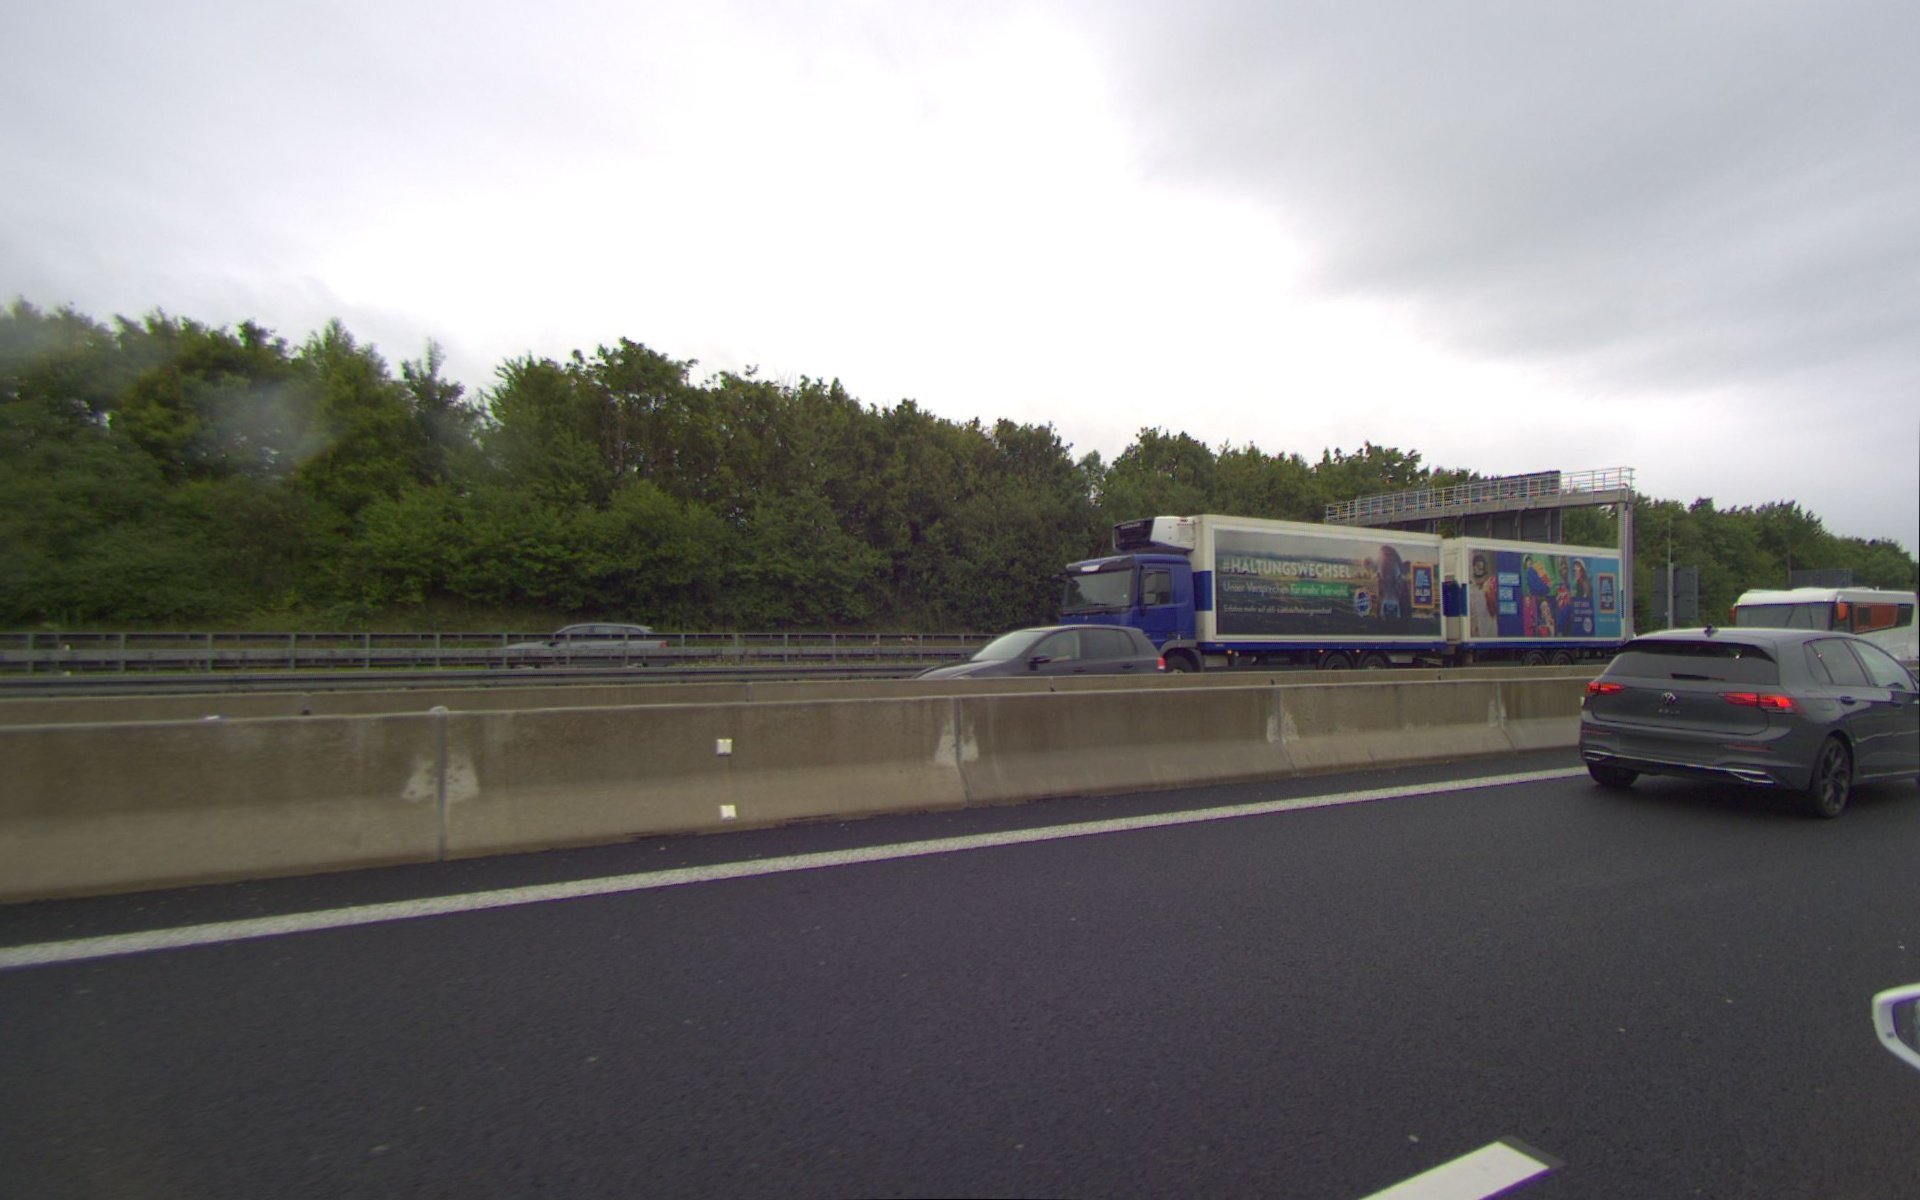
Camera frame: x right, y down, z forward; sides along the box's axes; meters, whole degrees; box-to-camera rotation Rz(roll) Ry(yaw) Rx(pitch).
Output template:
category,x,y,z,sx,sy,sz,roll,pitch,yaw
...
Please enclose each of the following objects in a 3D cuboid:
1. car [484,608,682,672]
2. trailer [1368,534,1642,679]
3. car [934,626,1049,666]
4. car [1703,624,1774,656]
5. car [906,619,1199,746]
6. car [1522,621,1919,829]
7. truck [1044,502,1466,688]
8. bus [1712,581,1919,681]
category,x,y,z,sx,sy,sz,roll,pitch,yaw
car,-9.913,1.026,26.506,4.633,1.558,1.984,1,-1,-30
trailer,15.251,0.240,27.929,7.956,3.563,2.929,2,0,-30
car,1.194,1.686,36.878,4.069,1.387,1.525,1,-1,-32
car,45.728,2.323,58.970,4.132,1.812,1.827,1,-1,-29
car,1.407,1.134,14.967,3.953,1.639,1.984,1,-1,-30
car,7.222,0.960,9.050,4.316,1.444,1.822,2,0,-30
truck,7.086,0.016,23.093,10.516,3.572,2.795,2,0,-30
bus,25.407,0.890,29.337,8.174,2.621,2.529,2,0,-30
